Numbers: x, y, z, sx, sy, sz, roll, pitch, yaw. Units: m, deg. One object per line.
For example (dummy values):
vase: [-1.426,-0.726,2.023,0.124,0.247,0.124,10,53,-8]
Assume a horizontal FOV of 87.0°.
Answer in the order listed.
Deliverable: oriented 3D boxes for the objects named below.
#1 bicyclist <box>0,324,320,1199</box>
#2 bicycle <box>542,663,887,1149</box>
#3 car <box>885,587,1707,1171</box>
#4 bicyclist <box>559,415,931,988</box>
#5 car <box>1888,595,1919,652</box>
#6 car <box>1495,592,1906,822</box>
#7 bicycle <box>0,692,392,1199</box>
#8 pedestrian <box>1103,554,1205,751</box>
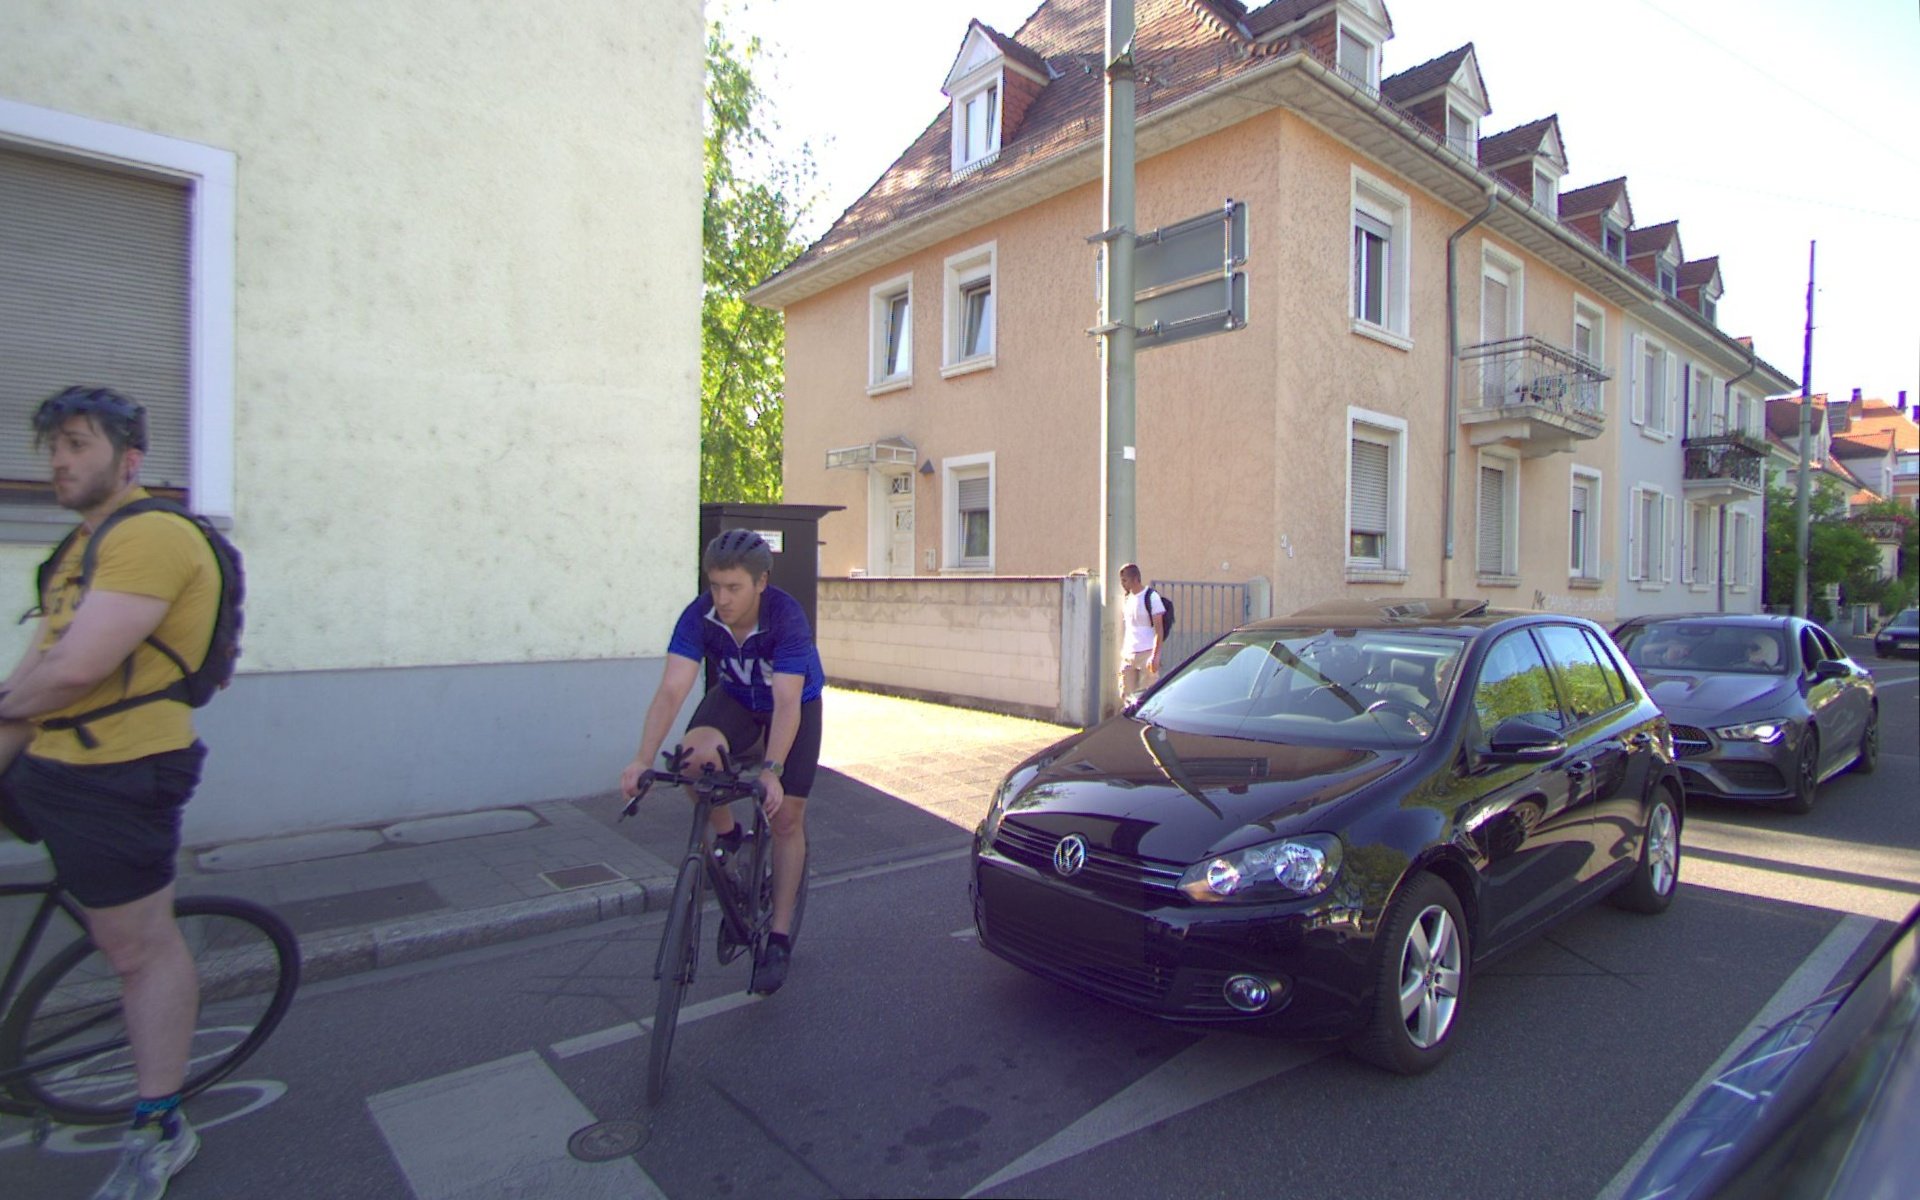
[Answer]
bicyclist: [-2.182,0.419,2.510,0.777,1.991,0.768,0,0,36]
bicycle: [-0.739,0.878,3.553,0.547,1.088,1.622,4,3,9]
car: [1.746,0.683,4.490,3.921,1.456,1.716,-1,0,-41]
bicyclist: [-0.706,0.285,3.520,1.004,1.714,0.728,4,3,10]
car: [26.764,0.612,27.449,4.258,1.448,1.824,-1,0,-40]
car: [6.392,0.698,8.537,4.410,1.449,1.824,1,0,-40]
bicycle: [-2.419,0.866,2.393,0.777,1.120,1.720,0,0,36]
pedestrian: [1.711,0.441,9.053,0.599,1.624,0.762,3,5,-4]
